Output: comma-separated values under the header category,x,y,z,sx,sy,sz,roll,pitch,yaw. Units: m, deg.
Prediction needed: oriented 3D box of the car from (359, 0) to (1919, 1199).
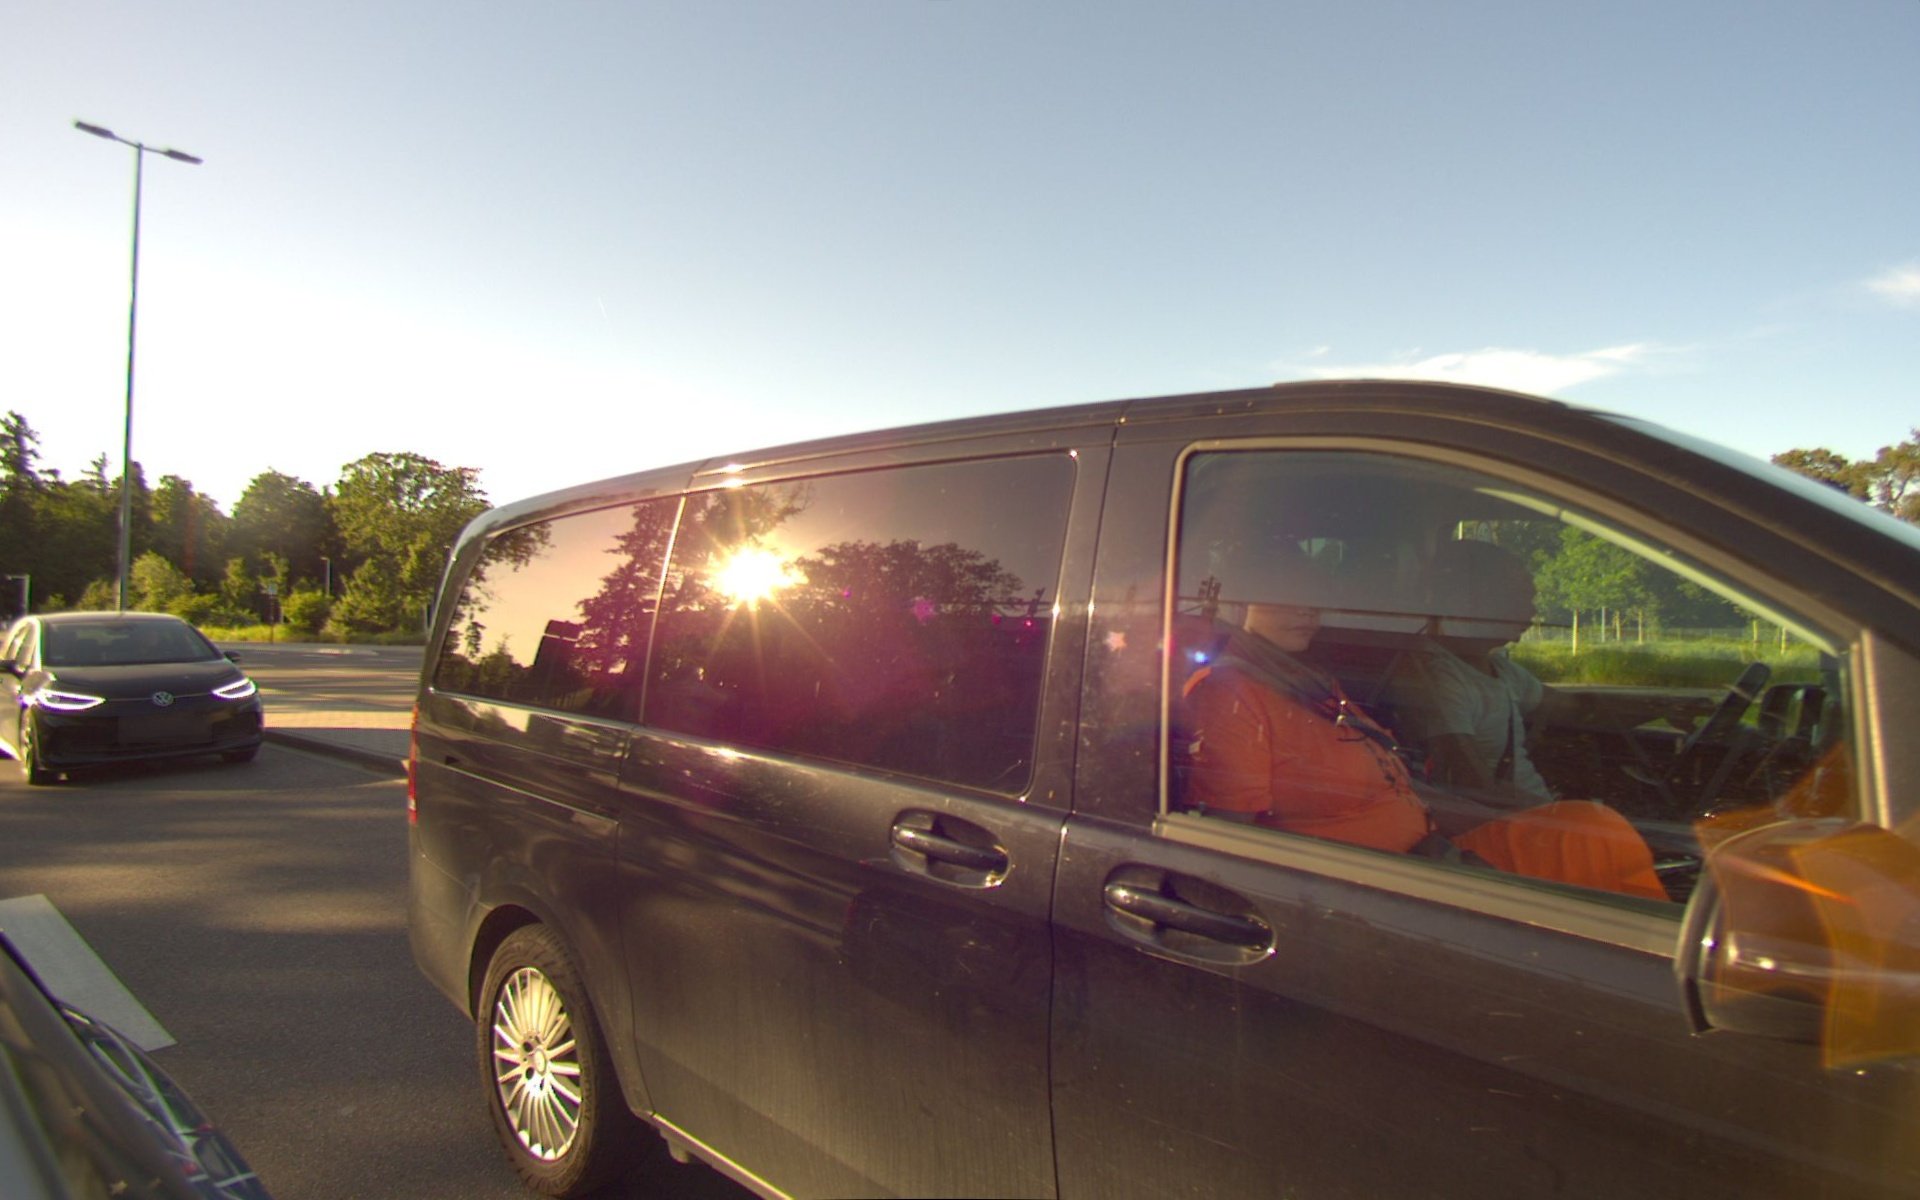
category,x,y,z,sx,sy,sz,roll,pitch,yaw
car,0.625,0.315,2.261,4.869,1.870,1.888,-4,-2,40

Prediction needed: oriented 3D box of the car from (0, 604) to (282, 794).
category,x,y,z,sx,sy,sz,roll,pitch,yaw
car,-8.676,0.836,10.362,3.997,1.548,1.859,-1,0,40
